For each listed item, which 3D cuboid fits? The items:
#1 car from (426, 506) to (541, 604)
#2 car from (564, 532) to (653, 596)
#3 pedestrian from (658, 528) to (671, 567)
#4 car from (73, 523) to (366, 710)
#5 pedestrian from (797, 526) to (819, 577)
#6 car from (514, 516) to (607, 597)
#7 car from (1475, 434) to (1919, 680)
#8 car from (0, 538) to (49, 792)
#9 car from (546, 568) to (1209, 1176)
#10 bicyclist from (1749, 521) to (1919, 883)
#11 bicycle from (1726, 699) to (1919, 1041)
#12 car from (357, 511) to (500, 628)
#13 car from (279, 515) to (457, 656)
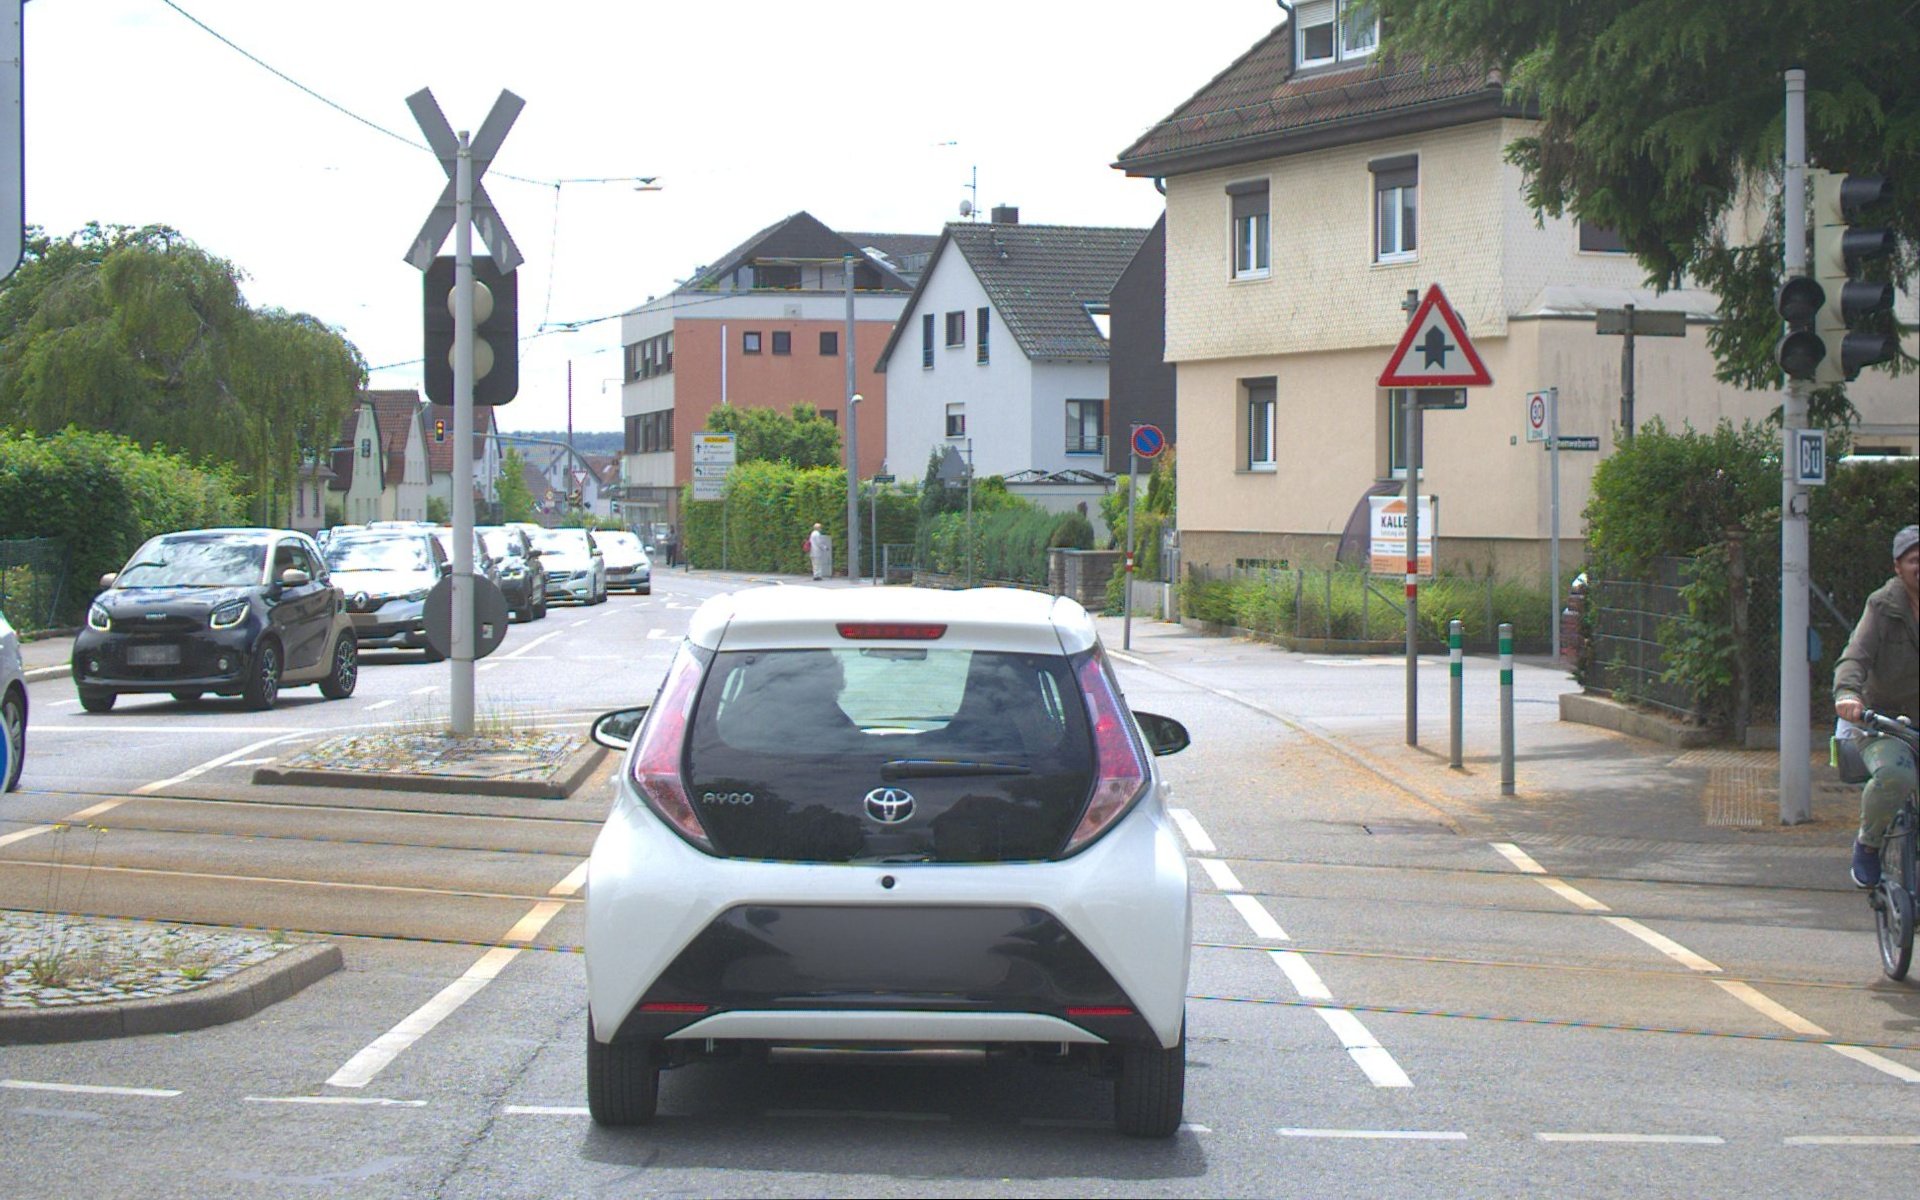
[{"bbox_3d":[-8.053,-0.777,58.390,1.774,1.598,4.170,1,1,-6],"label":"car"},{"bbox_3d":[-8.206,-0.859,80.022,1.774,1.425,4.523,1,1,-9],"label":"car"},{"bbox_3d":[-10.908,-1.933,127.018,0.413,1.433,0.438,1,1,-10],"label":"pedestrian"},{"bbox_3d":[-6.354,0.102,29.762,1.575,1.505,2.787,0,2,9],"label":"car"},{"bbox_3d":[-4.295,-1.361,97.376,0.436,1.433,0.414,0,2,-38],"label":"pedestrian"},{"bbox_3d":[-8.081,-0.898,69.331,1.774,1.556,4.170,1,1,-7],"label":"car"},{"bbox_3d":[8.833,-0.489,37.760,5.994,2.572,2.001,0,2,-19],"label":"car"},{"bbox_3d":[-6.382,0.396,18.818,1.688,1.453,4.070,1,2,0],"label":"car"},{"bbox_3d":[-0.219,0.660,10.581,1.621,1.481,4.000,1,1,0],"label":"car"},{"bbox_3d":[3.440,0.345,12.400,0.932,1.243,1.102,1,1,2],"label":"bicyclist"},{"bbox_3d":[3.426,0.932,12.383,0.932,1.037,1.915,1,1,2],"label":"bicycle"},{"bbox_3d":[-7.628,-0.462,49.612,1.774,1.598,4.040,1,1,-5],"label":"car"},{"bbox_3d":[-7.094,-0.203,41.512,1.774,1.598,4.040,1,1,-5],"label":"car"}]
